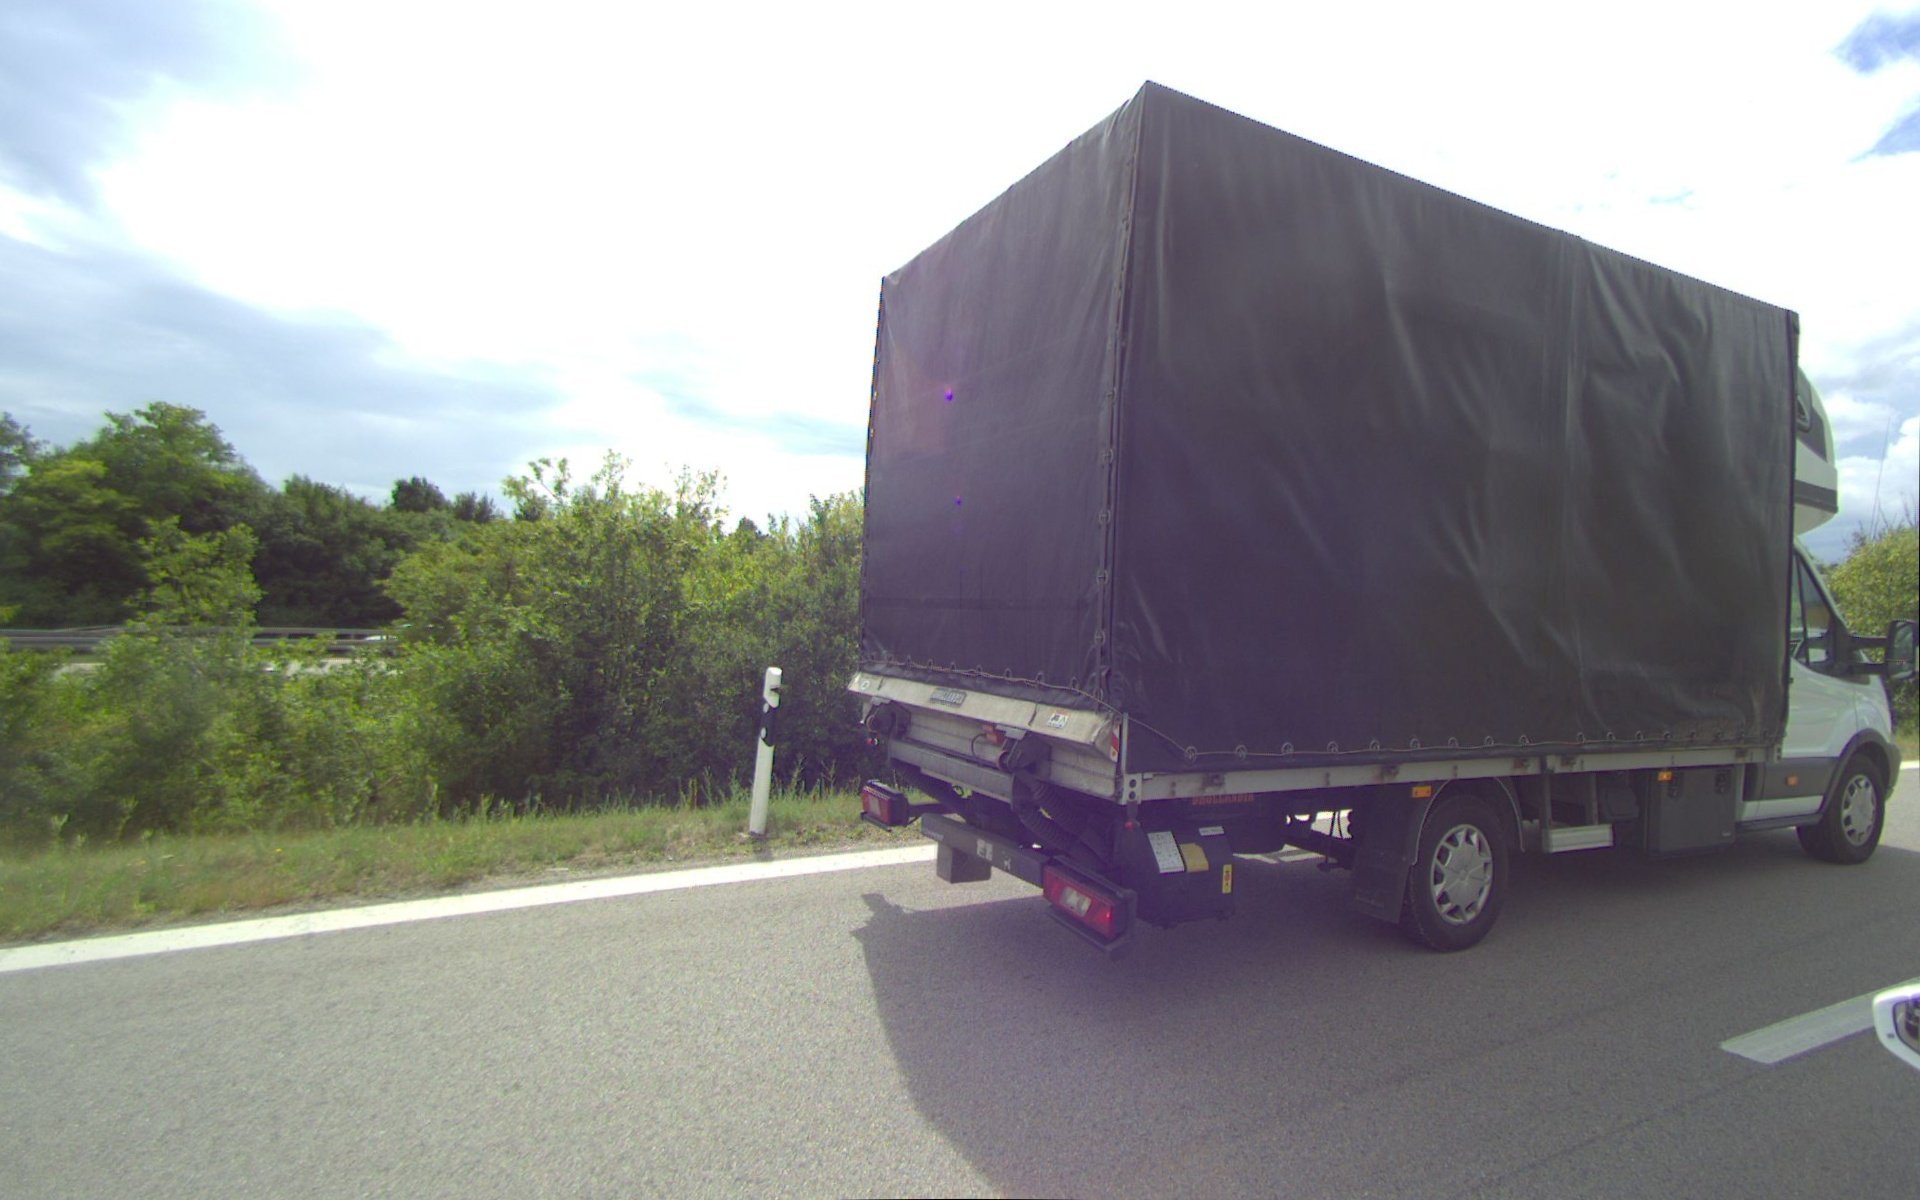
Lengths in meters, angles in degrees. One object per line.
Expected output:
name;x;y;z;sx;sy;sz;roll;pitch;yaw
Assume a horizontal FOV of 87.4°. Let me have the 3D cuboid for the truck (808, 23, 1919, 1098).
truck;3.067;-0.021;5.908;7.376;3.210;2.549;2;0;-29
